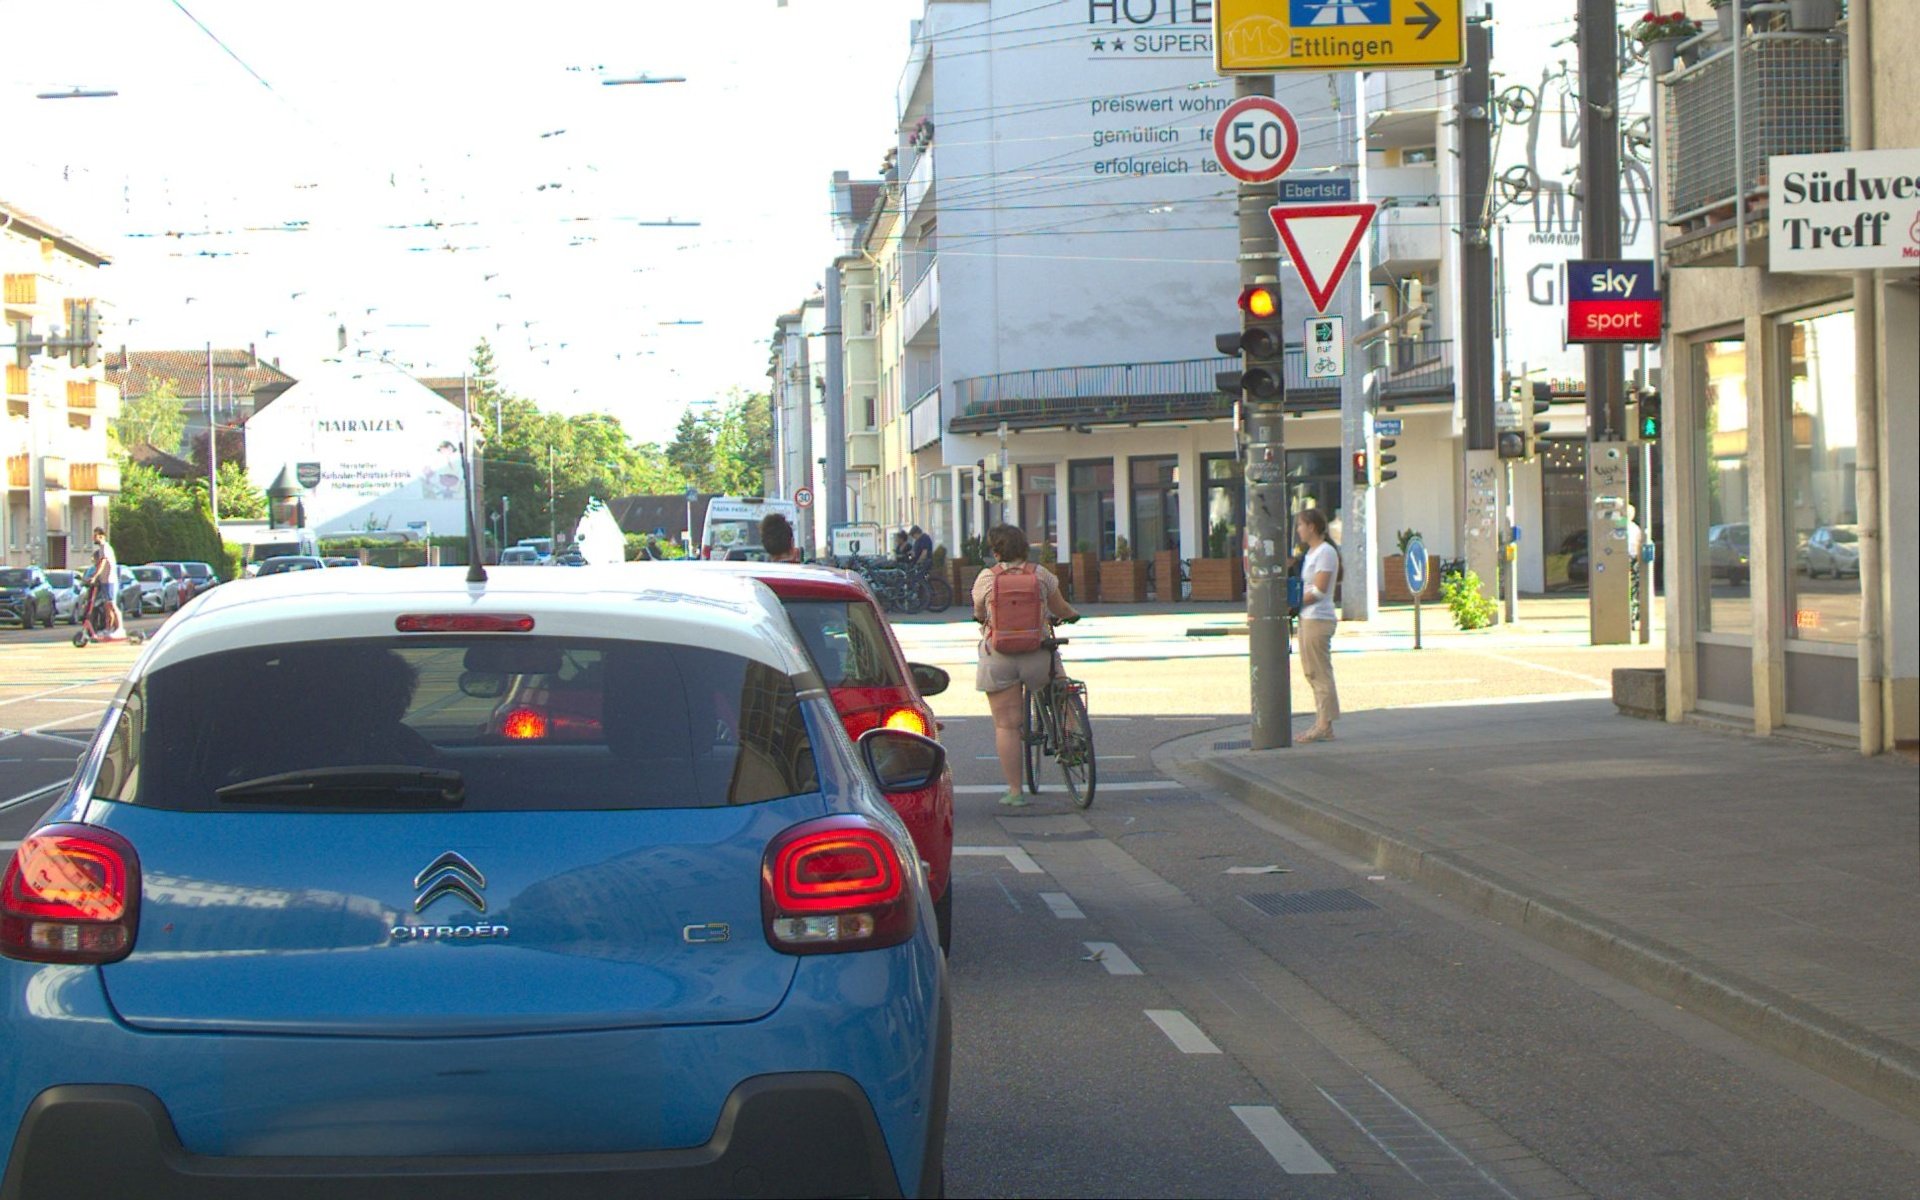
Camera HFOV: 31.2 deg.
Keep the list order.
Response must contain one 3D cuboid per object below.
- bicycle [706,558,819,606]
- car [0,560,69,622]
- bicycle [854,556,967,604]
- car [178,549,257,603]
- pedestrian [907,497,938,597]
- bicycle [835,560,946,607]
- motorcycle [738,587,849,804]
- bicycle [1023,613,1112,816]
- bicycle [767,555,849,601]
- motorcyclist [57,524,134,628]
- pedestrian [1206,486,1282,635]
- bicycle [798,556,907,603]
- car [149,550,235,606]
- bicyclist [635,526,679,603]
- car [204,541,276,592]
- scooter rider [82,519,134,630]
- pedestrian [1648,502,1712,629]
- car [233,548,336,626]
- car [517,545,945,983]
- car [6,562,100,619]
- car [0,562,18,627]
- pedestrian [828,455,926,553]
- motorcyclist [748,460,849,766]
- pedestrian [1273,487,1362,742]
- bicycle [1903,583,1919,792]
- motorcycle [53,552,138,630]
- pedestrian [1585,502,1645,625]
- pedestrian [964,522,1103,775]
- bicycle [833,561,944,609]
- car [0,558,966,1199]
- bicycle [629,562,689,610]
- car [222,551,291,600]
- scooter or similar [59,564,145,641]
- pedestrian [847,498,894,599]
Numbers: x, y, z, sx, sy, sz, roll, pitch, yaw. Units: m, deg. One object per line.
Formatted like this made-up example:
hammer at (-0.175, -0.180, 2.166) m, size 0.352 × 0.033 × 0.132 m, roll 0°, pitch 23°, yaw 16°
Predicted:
bicycle at (-3.803, -0.344, 66.172) m, size 2.132 × 0.898 × 0.367 m, roll 1°, pitch 0°, yaw -9°
car at (-23.625, -0.235, 86.100) m, size 1.785 × 1.493 × 4.001 m, roll 1°, pitch 1°, yaw -4°
bicycle at (-0.953, -0.387, 65.959) m, size 2.132 × 0.898 × 0.367 m, roll 1°, pitch 0°, yaw -9°
car at (-24.032, -0.775, 111.383) m, size 1.882 × 1.681 × 4.001 m, roll 1°, pitch 1°, yaw -4°
pedestrian at (-0.775, -1.081, 70.252) m, size 0.577 × 2.007 × 0.626 m, roll 1°, pitch 0°, yaw -3°
bicycle at (-1.358, -0.319, 67.125) m, size 2.132 × 0.898 × 0.367 m, roll 1°, pitch 0°, yaw -9°
motorcycle at (-0.922, 0.504, 19.442) m, size 0.526 × 1.136 × 2.290 m, roll 1°, pitch 1°, yaw -1°
bicycle at (0.628, 0.657, 20.527) m, size 0.427 × 1.119 × 1.998 m, roll 1°, pitch 1°, yaw -1°
bicycle at (-3.076, -0.439, 69.460) m, size 1.785 × 0.898 × 0.366 m, roll 1°, pitch 1°, yaw 34°
motorcyclist at (-16.914, -0.478, 67.288) m, size 1.185 × 2.007 × 1.276 m, roll -1°, pitch 1°, yaw -3°
pedestrian at (3.871, -0.541, 46.900) m, size 0.926 × 2.007 × 0.759 m, roll 1°, pitch 0°, yaw -1°
bicycle at (-2.136, -0.403, 68.349) m, size 2.132 × 0.898 × 0.367 m, roll 1°, pitch 0°, yaw -9°
car at (-23.726, -0.686, 106.305) m, size 1.983 × 1.681 × 4.001 m, roll 1°, pitch 1°, yaw -3°
bicyclist at (-5.898, -0.692, 66.924) m, size 0.561 × 1.472 × 0.748 m, roll 1°, pitch 0°, yaw -33°
car at (-24.408, -1.140, 116.665) m, size 1.833 × 1.681 × 4.001 m, roll 1°, pitch 1°, yaw -4°
scooter rider at (-14.264, -0.422, 57.556) m, size 0.722 × 1.826 × 0.717 m, roll -2°, pitch 1°, yaw -7°
pedestrian at (9.496, -0.458, 45.334) m, size 0.752 × 1.652 × 0.883 m, roll 1°, pitch 0°, yaw 16°
car at (-14.984, -0.301, 76.405) m, size 1.774 × 1.660 × 3.857 m, roll 1°, pitch 1°, yaw -4°
car at (-0.796, 0.547, 13.179) m, size 1.424 × 1.462 × 2.924 m, roll -1°, pitch 0°, yaw -1°
car at (-24.278, -0.273, 92.140) m, size 1.732 × 1.493 × 4.001 m, roll 1°, pitch 1°, yaw -5°
car at (-23.206, -0.131, 79.486) m, size 1.787 × 1.506 × 4.150 m, roll 1°, pitch 1°, yaw -2°
pedestrian at (-1.751, -2.029, 73.536) m, size 1.993 × 2.007 × 4.000 m, roll 1°, pitch 1°, yaw -1°
motorcyclist at (-0.915, 0.069, 19.625) m, size 0.526 × 1.710 × 0.717 m, roll 1°, pitch 0°, yaw -1°
pedestrian at (2.526, 0.097, 24.338) m, size 0.517 × 1.777 × 0.595 m, roll 1°, pitch 0°, yaw -2°
bicycle at (4.848, 0.427, 15.765) m, size 0.542 × 0.995 × 1.706 m, roll 1°, pitch 1°, yaw -1°
motorcycle at (-16.922, -0.194, 67.388) m, size 0.923 × 1.481 × 3.726 m, roll 1°, pitch 1°, yaw -3°
pedestrian at (8.648, -0.482, 45.362) m, size 0.736 × 1.595 × 0.748 m, roll 1°, pitch 0°, yaw 13°
pedestrian at (0.427, 0.279, 20.253) m, size 0.777 × 1.455 × 0.682 m, roll 1°, pitch 0°, yaw -1°
bicycle at (-1.403, -0.297, 67.555) m, size 2.132 × 0.898 × 0.367 m, roll 1°, pitch 0°, yaw -9°
car at (-0.848, 0.646, 7.174) m, size 1.654 × 1.439 × 3.523 m, roll 1°, pitch 1°, yaw -1°
bicycle at (-5.853, -0.279, 66.831) m, size 0.349 × 0.900 × 1.859 m, roll 1°, pitch 1°, yaw -32°
car at (-24.786, -0.885, 121.289) m, size 1.846 × 1.681 × 3.875 m, roll 1°, pitch 1°, yaw -4°
scooter or similar at (-14.362, 0.034, 57.563) m, size 1.349 × 1.265 × 0.444 m, roll 0°, pitch 1°, yaw -8°
pedestrian at (-1.800, -1.032, 69.196) m, size 0.630 × 2.007 × 0.724 m, roll 1°, pitch 0°, yaw -36°
